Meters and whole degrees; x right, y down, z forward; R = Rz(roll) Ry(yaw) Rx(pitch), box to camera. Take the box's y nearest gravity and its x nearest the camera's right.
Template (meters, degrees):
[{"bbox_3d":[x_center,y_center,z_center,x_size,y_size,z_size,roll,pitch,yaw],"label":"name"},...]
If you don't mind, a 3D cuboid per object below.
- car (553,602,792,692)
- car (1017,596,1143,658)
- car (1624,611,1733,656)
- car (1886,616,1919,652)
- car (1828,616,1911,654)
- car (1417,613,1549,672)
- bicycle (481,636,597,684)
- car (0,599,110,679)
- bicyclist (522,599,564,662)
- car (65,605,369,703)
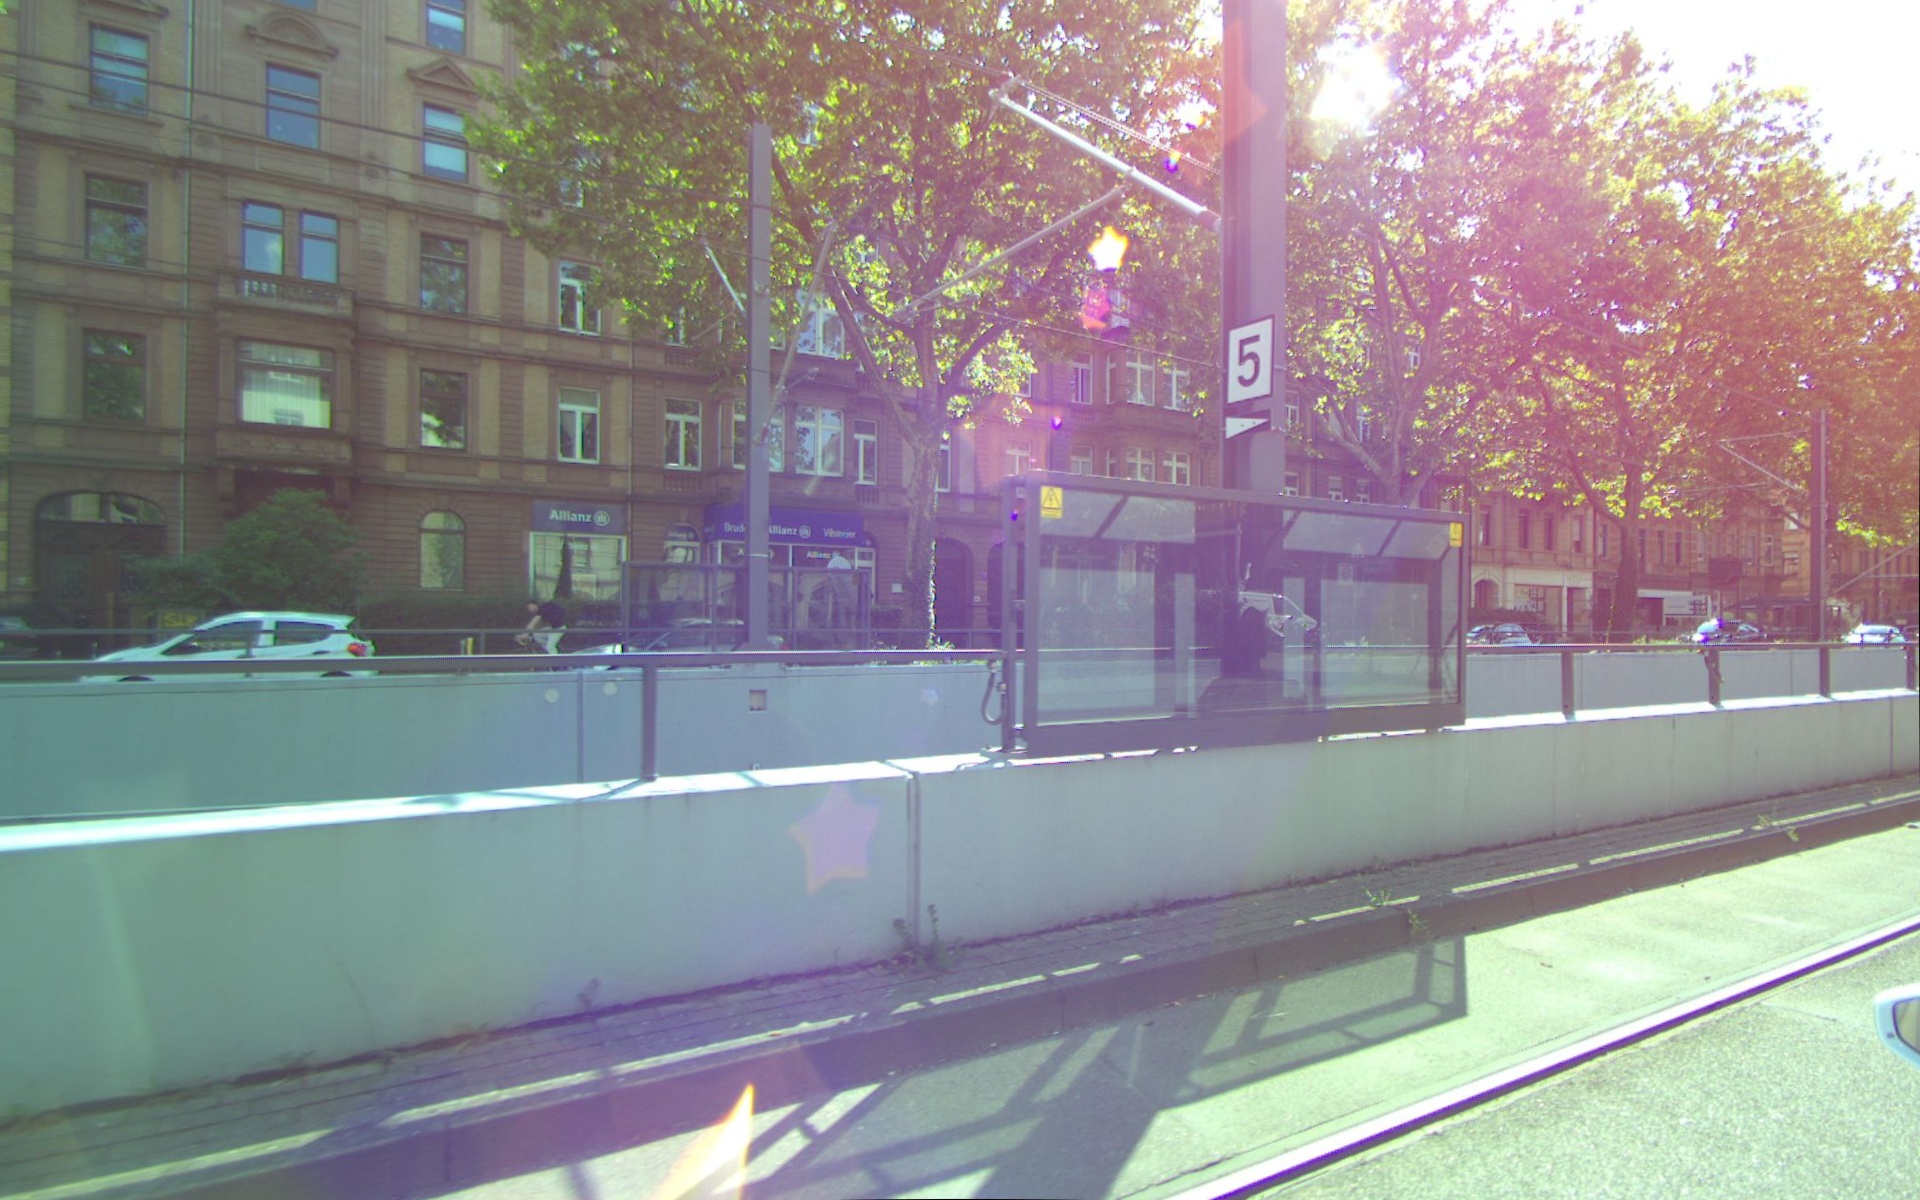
[{"bbox_3d":[-5.261,0.860,18.507,3.956,1.501,1.635,1,-3,-31],"label":"car"},{"bbox_3d":[3.973,0.888,33.982,1.977,1.944,4.379,1,-1,-31],"label":"car"},{"bbox_3d":[28.175,1.293,39.385,3.950,1.658,1.985,1,-1,-28],"label":"car"},{"bbox_3d":[48.623,1.722,50.588,3.953,1.750,1.830,1,-3,-31],"label":"car"},{"bbox_3d":[44.003,1.702,48.570,3.953,1.750,1.830,1,-3,-31],"label":"car"},{"bbox_3d":[16.408,1.322,31.524,3.677,1.713,1.714,0,-2,-24],"label":"car"},{"bbox_3d":[-8.550,1.199,20.463,2.124,0.925,0.532,1,-1,-31],"label":"bicycle"},{"bbox_3d":[-19.173,0.739,20.464,1.975,1.503,3.972,1,-1,-27],"label":"car"},{"bbox_3d":[-8.516,0.616,20.492,0.715,1.248,0.532,1,-1,-30],"label":"bicyclist"},{"bbox_3d":[-10.944,0.786,15.099,3.447,1.320,1.491,1,-3,-28],"label":"car"}]
